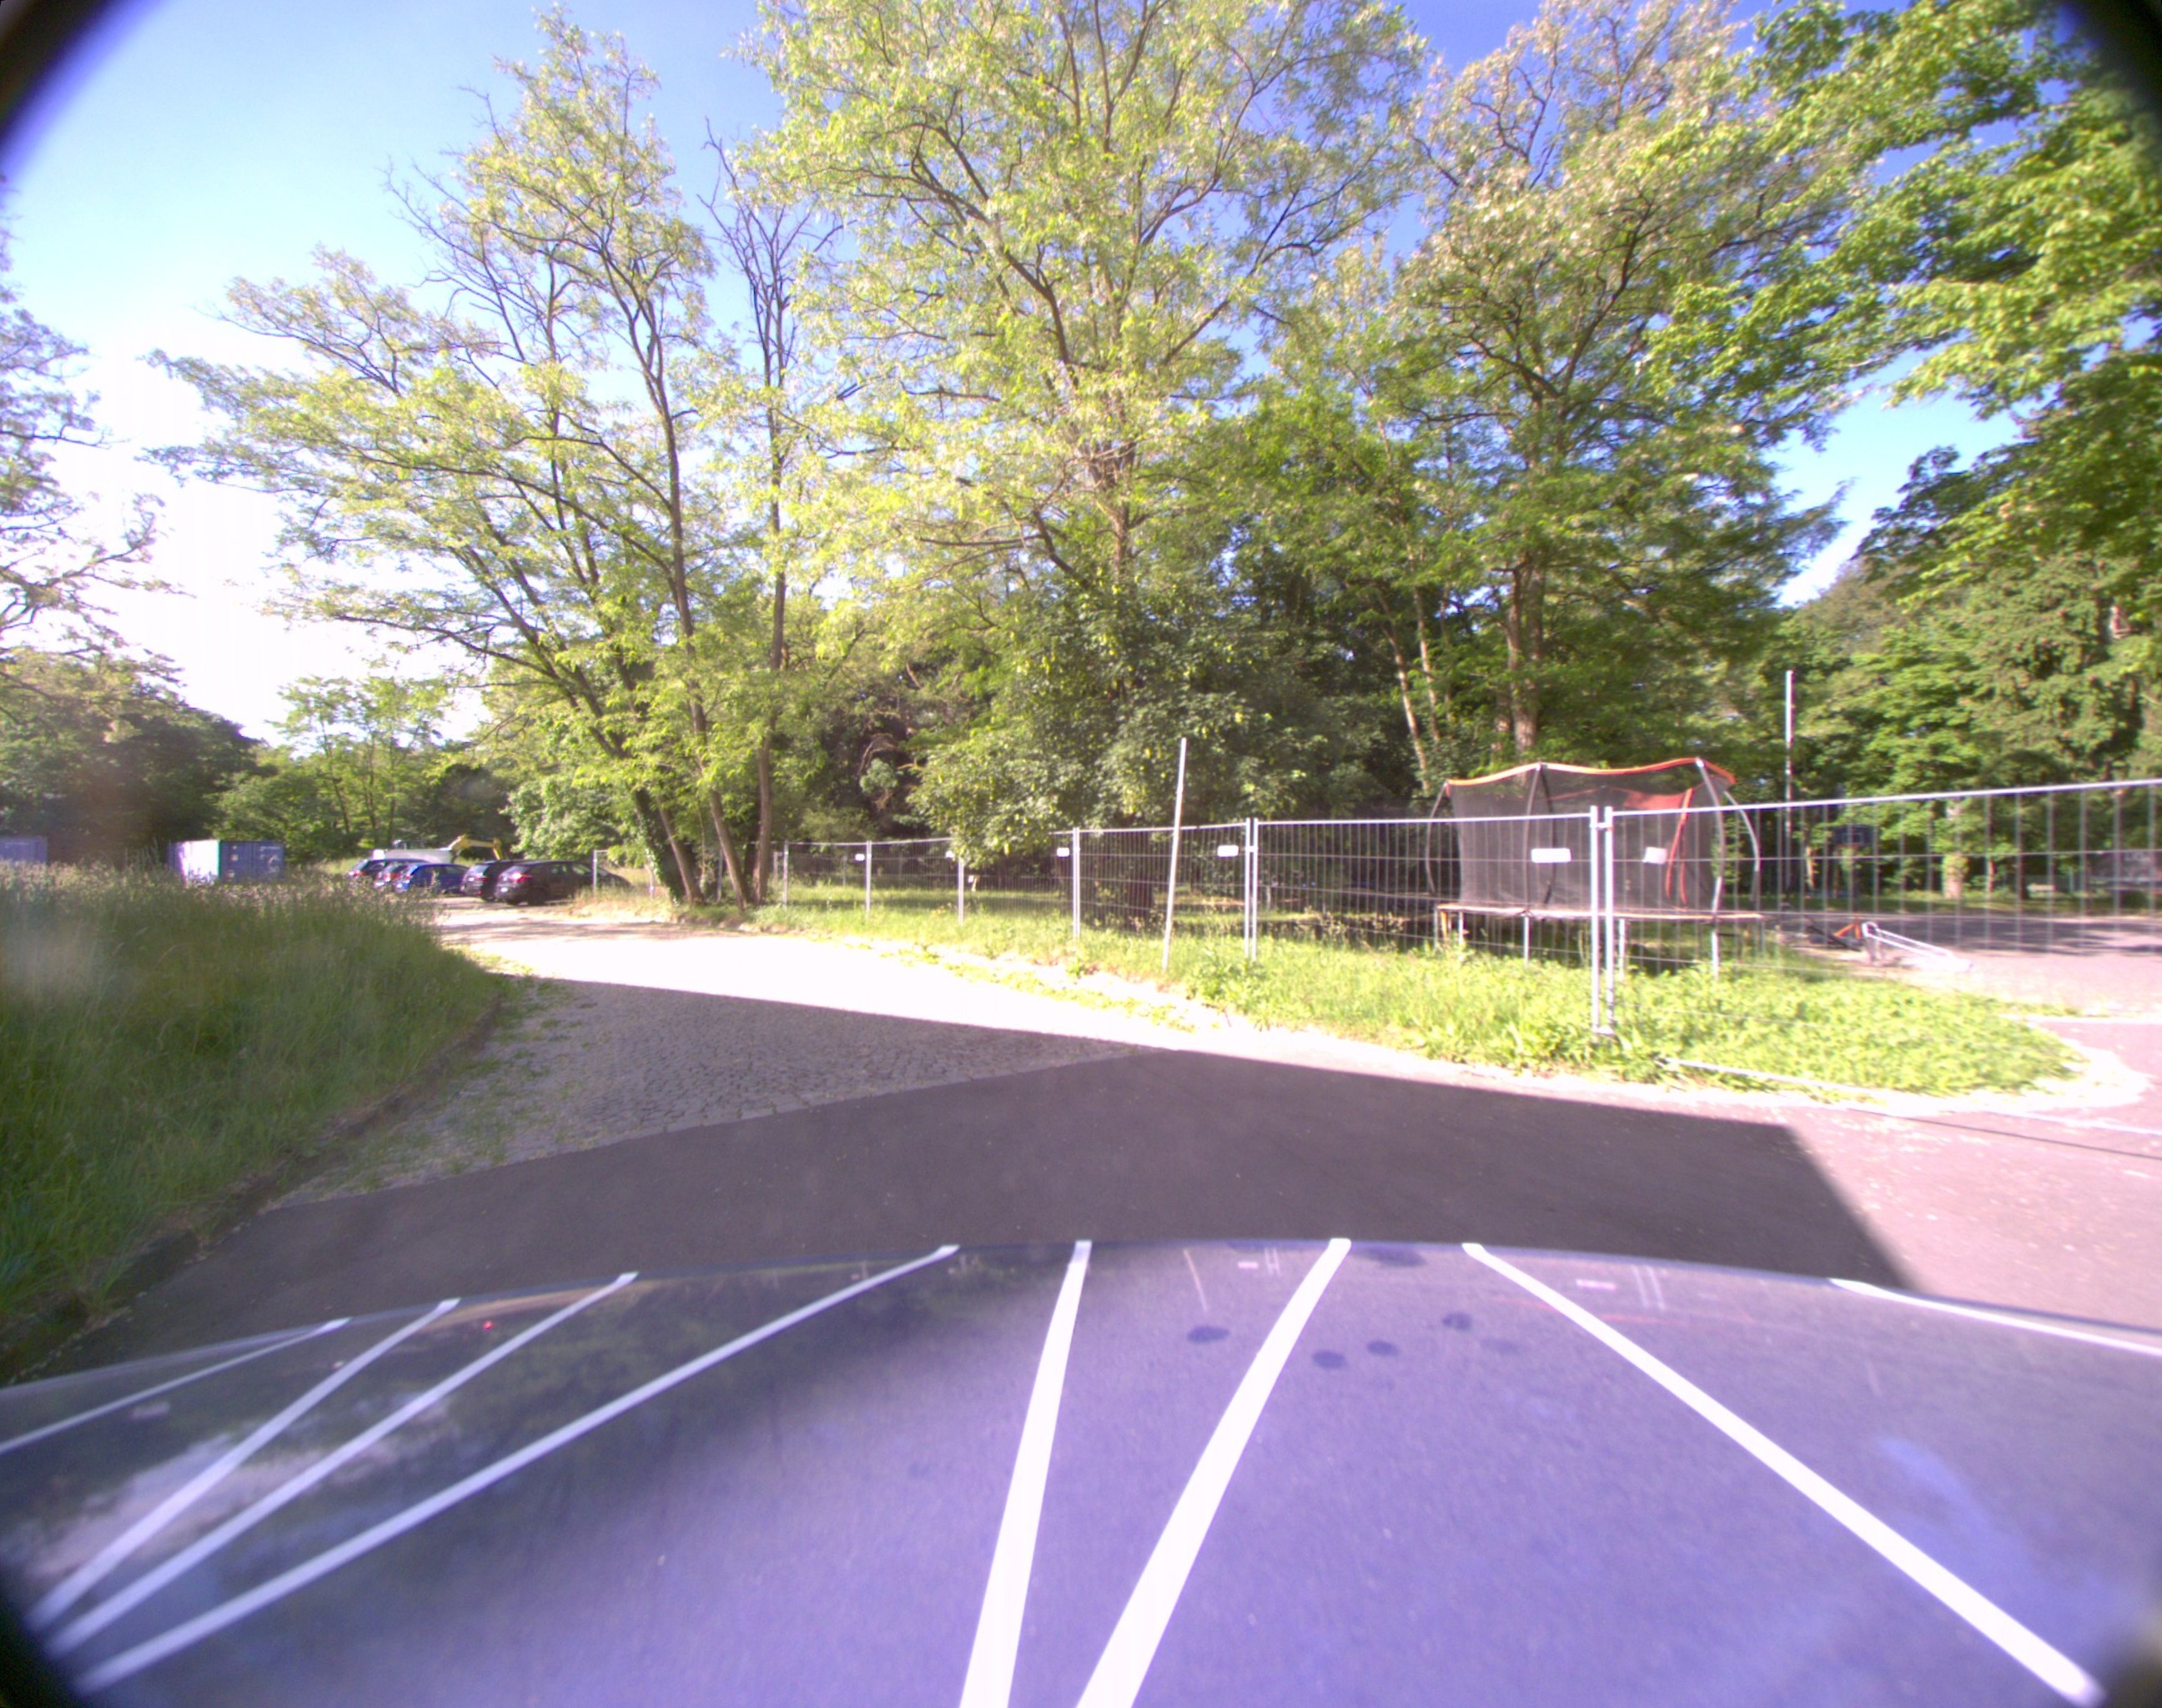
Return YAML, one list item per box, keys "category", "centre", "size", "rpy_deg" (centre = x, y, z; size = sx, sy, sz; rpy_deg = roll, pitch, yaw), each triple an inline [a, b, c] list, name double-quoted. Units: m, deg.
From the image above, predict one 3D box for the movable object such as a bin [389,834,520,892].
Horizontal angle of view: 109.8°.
- category: "movable object such as a bin"
  centre: [-33.856, 0.475, 41.193]
  size: [1.994, 2.948, 5.176]
  rpy_deg: [0, 0, 38]

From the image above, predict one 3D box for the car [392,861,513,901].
- category: "car"
  centre: [-27.134, 1.136, 32.890]
  size: [1.709, 1.485, 3.670]
  rpy_deg: [0, 2, 36]

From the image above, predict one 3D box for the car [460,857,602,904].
- category: "car"
  centre: [-22.042, 1.003, 30.619]
  size: [1.812, 1.647, 4.198]
  rpy_deg: [0, 1, 33]

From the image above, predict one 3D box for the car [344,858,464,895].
- category: "car"
  centre: [-31.455, 0.988, 35.406]
  size: [1.863, 1.631, 3.829]
  rpy_deg: [0, 0, 35]

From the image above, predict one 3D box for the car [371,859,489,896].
- category: "car"
  centre: [-29.285, 1.020, 34.278]
  size: [1.829, 1.443, 3.670]
  rpy_deg: [1, 1, 33]

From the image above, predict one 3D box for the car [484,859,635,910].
- category: "car"
  centre: [-19.561, 1.067, 28.714]
  size: [1.788, 1.643, 4.307]
  rpy_deg: [0, 2, 28]

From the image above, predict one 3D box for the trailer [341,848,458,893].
- category: "trailer"
  centre: [-33.539, 0.763, 37.482]
  size: [1.634, 2.082, 3.980]
  rpy_deg: [0, 1, 34]
